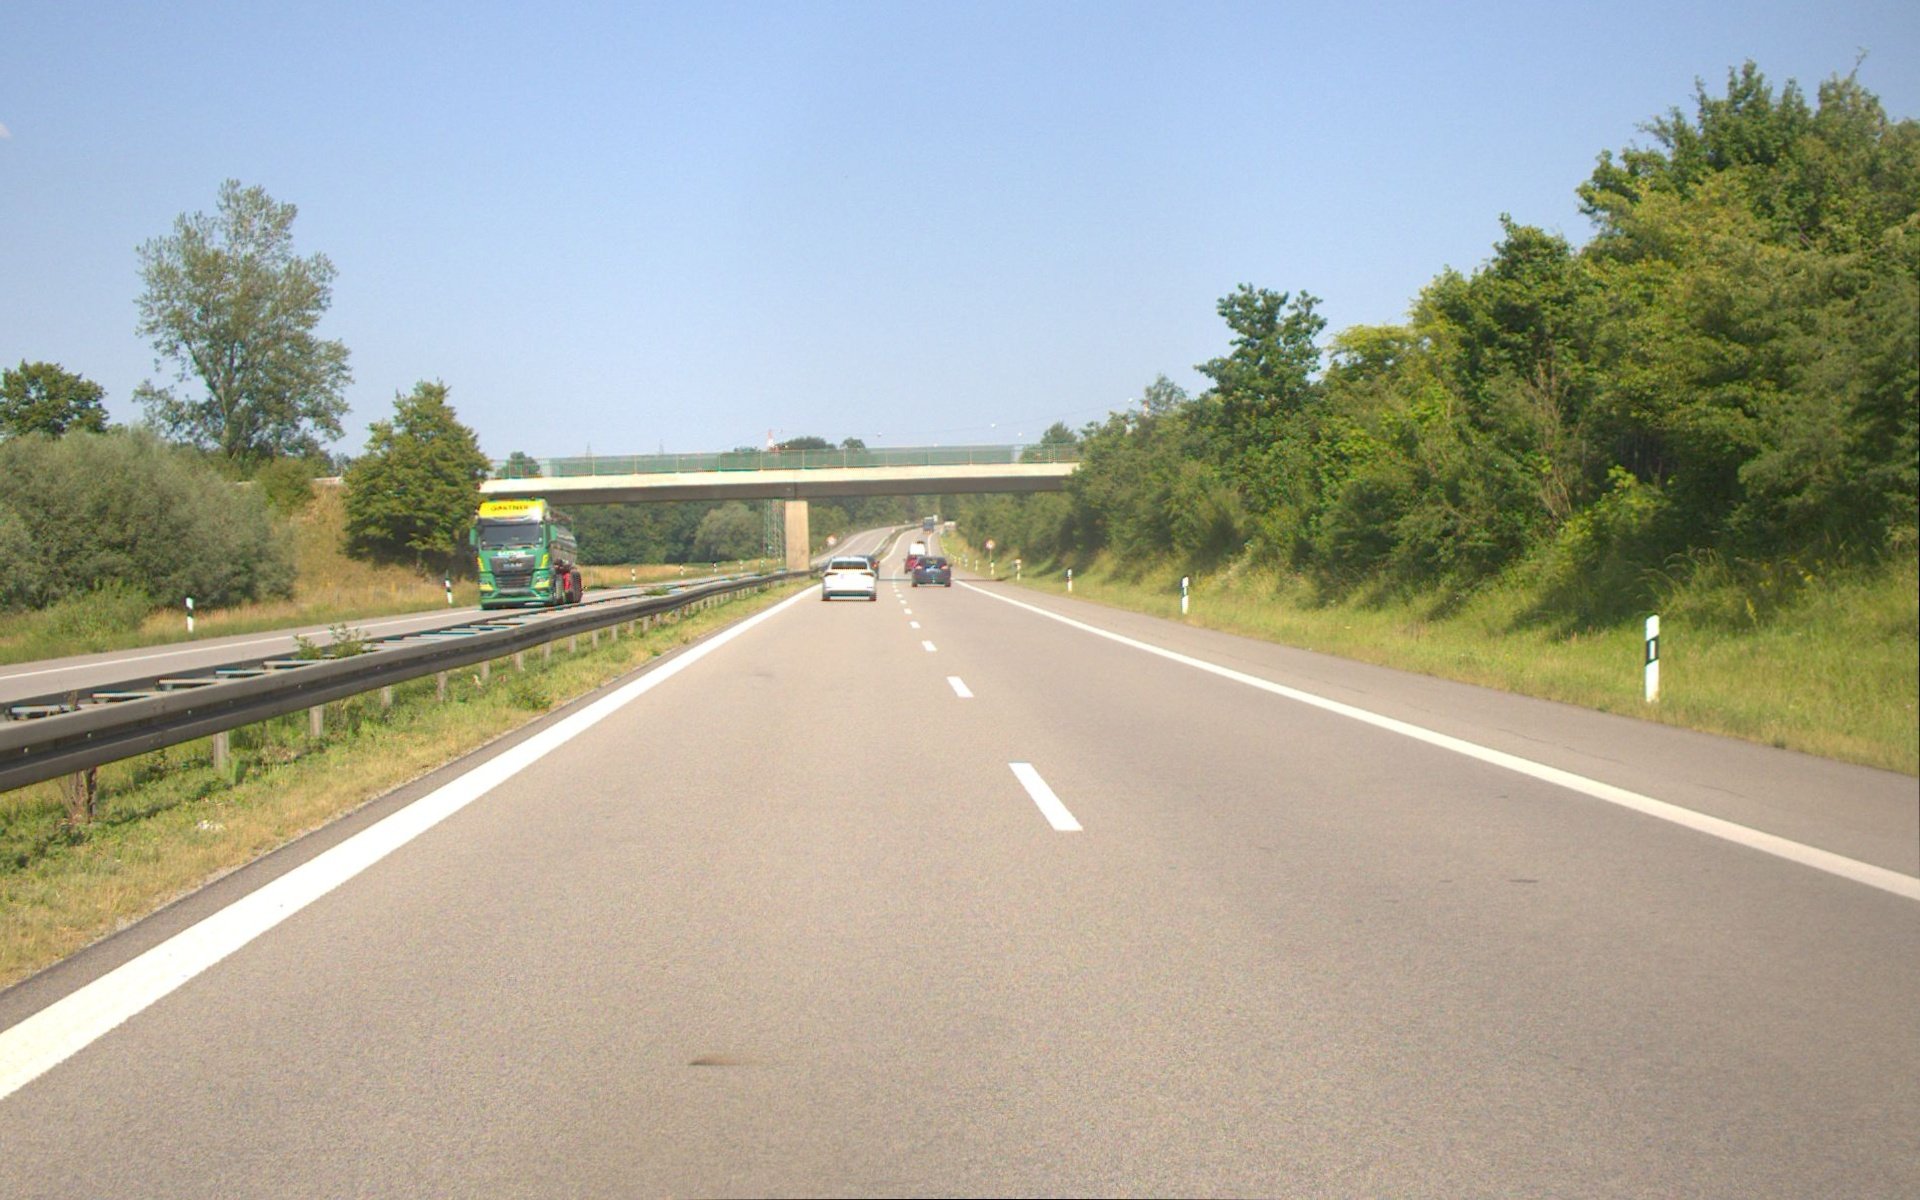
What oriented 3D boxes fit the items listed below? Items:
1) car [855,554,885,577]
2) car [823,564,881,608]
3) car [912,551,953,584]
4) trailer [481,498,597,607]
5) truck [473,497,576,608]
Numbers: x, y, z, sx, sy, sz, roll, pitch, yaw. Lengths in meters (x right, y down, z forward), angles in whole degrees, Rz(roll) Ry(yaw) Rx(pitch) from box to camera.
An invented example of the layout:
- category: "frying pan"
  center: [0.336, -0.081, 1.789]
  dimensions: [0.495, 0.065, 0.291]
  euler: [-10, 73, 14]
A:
- category: "car"
  center: [-5.599, -2.138, 213.841]
  dimensions: [1.843, 1.431, 4.000]
  euler: [1, 0, -2]
- category: "car"
  center: [-3.549, -0.470, 113.224]
  dimensions: [1.843, 1.411, 4.000]
  euler: [1, 0, -2]
- category: "car"
  center: [-1.311, -1.540, 163.893]
  dimensions: [1.843, 1.515, 4.000]
  euler: [1, 0, -2]
- category: "trailer"
  center: [-15.310, -1.713, 125.869]
  dimensions: [2.980, 3.718, 12.421]
  euler: [-1, 1, -2]
- category: "truck"
  center: [-15.132, -1.641, 119.737]
  dimensions: [2.955, 3.718, 5.569]
  euler: [-2, 1, -2]
